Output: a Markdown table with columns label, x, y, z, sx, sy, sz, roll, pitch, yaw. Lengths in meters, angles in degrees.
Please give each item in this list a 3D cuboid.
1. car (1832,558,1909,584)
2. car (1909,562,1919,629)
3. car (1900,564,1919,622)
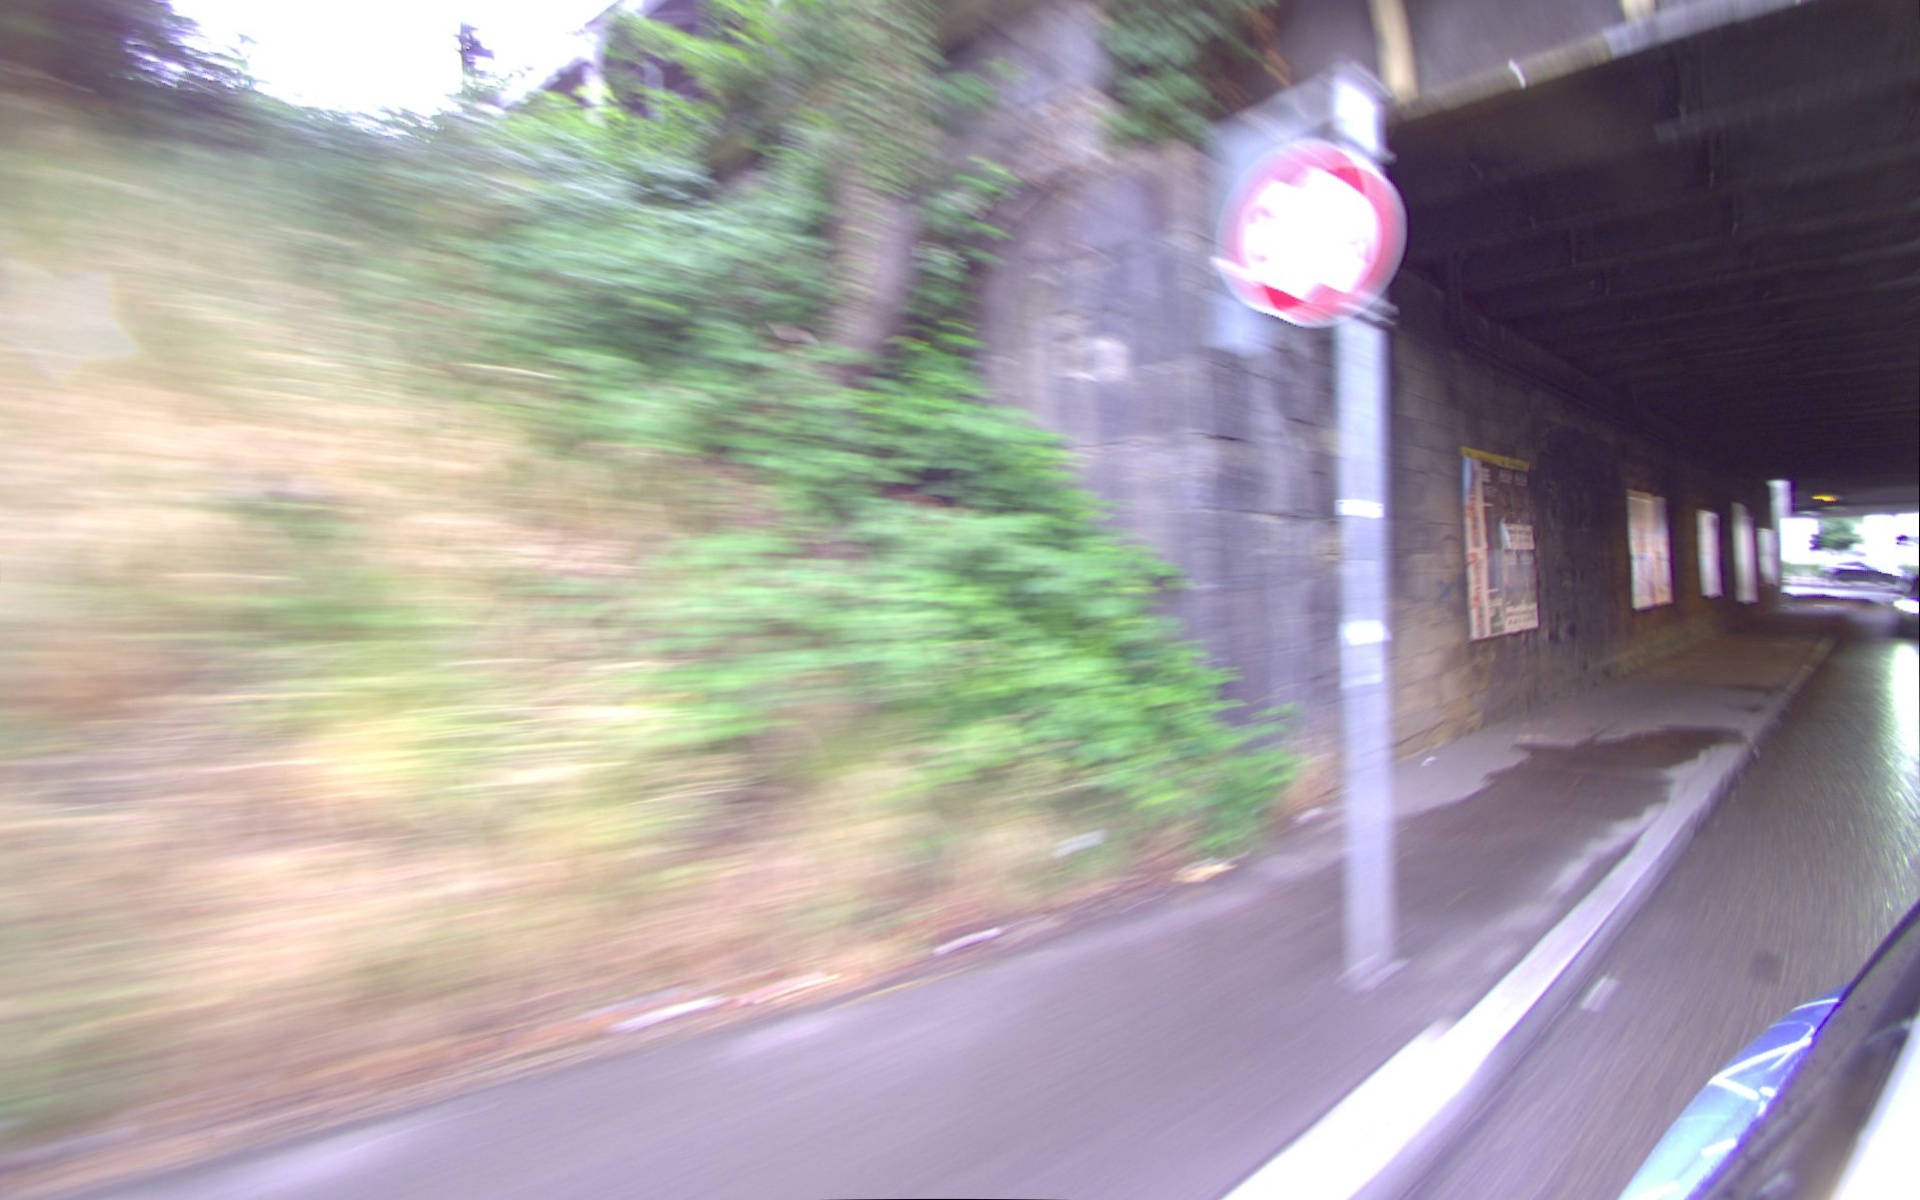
| label | x | y | z | sx | sy | sz | roll | pitch | yaw |
| --- | --- | --- | --- | --- | --- | --- | --- | --- | --- |
| car | 55.101 | -1.736 | 61.300 | 1.251 | 1.475 | 3.264 | -2 | 1 | -19 |
| car | 23.888 | -0.140 | 24.044 | 1.804 | 1.537 | 3.992 | 0 | 1 | 41 |
| car | 27.511 | -0.231 | 28.255 | 1.805 | 1.536 | 3.991 | 1 | 2 | 42 |
